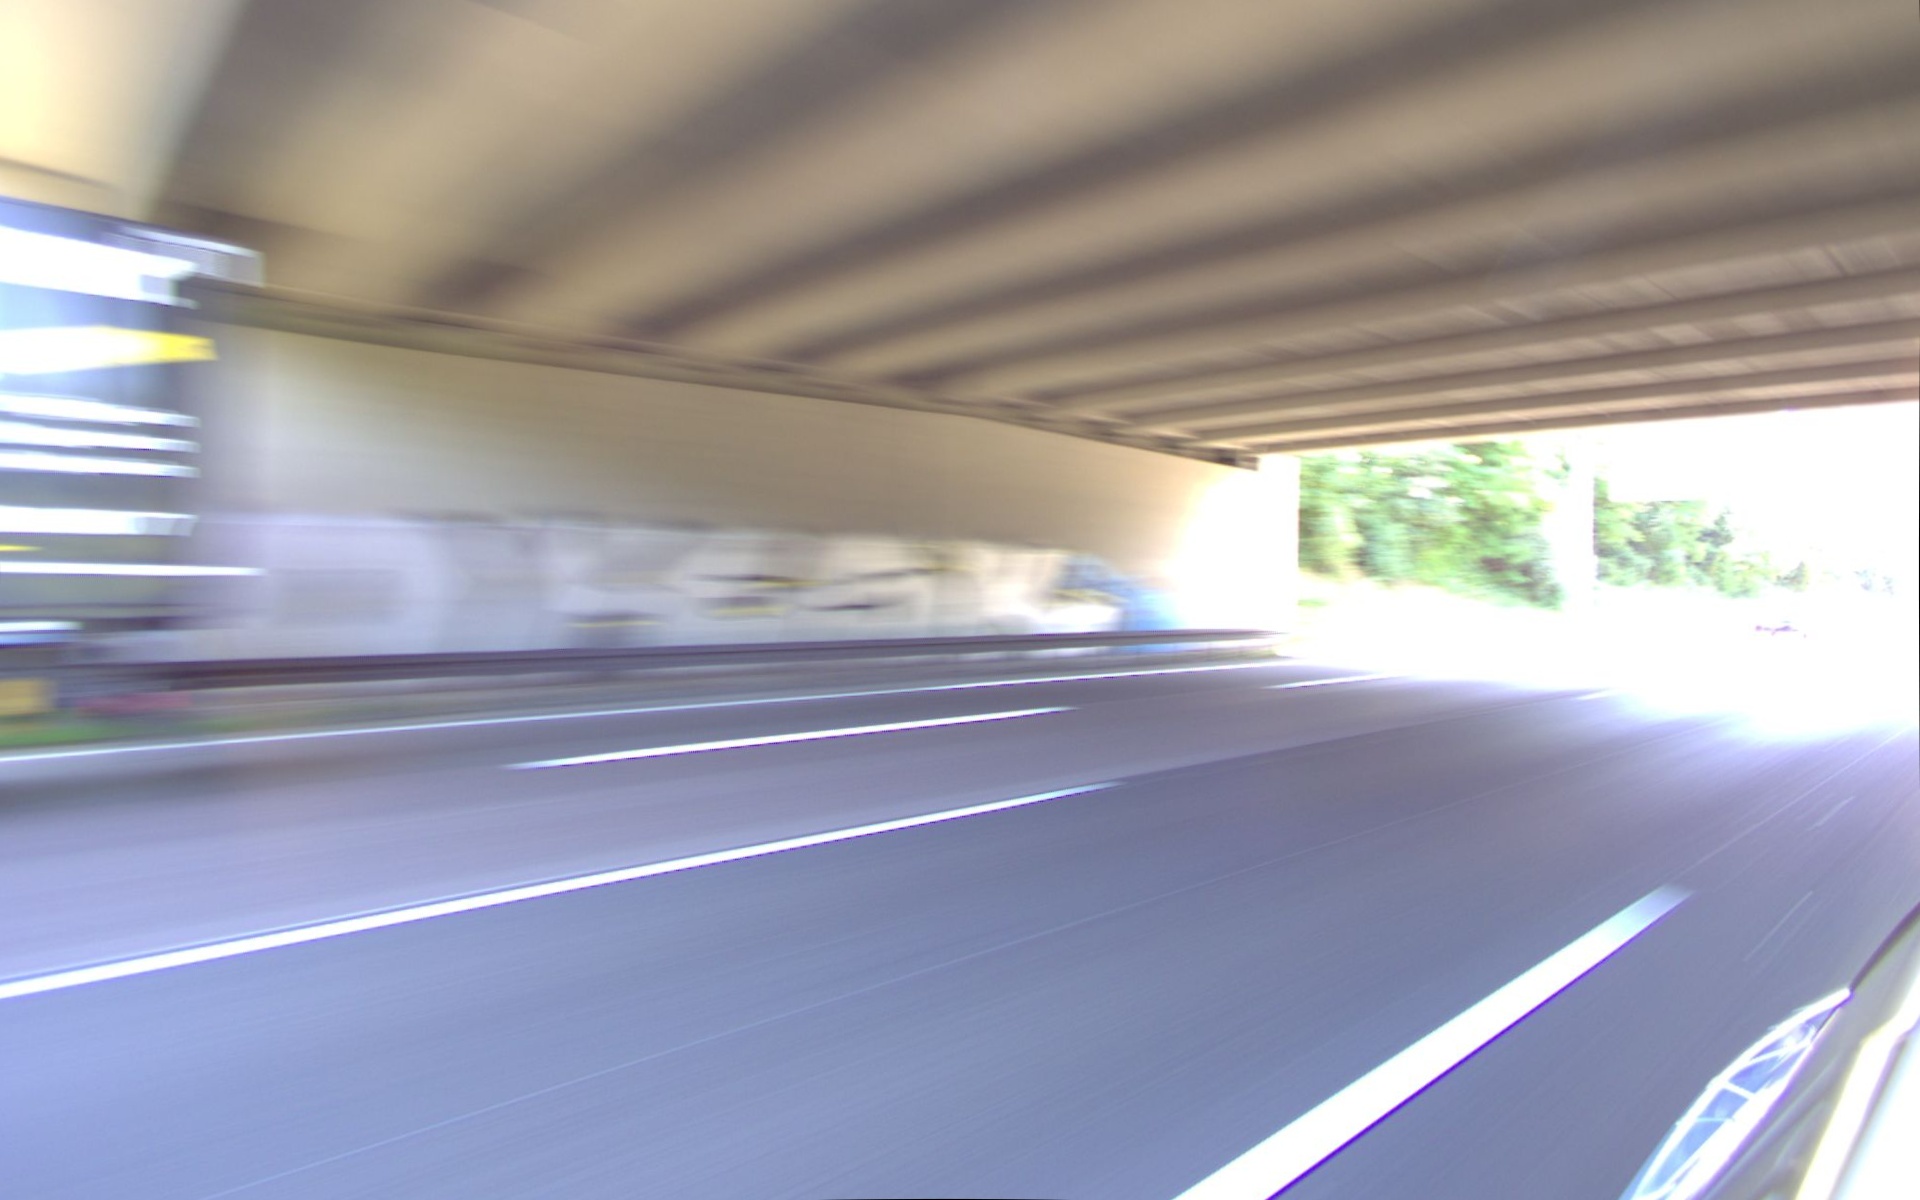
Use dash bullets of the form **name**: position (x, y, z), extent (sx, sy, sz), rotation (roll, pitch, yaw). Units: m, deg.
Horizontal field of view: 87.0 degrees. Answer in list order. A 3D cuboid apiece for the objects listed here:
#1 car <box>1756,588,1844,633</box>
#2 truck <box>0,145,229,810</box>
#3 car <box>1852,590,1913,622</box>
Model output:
- **car**: position (31.255, 0.335, 37.623), extent (4.128, 1.575, 1.873), rotation (-1, 1, -41)
- **truck**: position (-10.134, -0.706, 4.733), extent (10.782, 4.088, 2.982), rotation (-1, 0, -39)
- **car**: position (44.286, 0.249, 48.556), extent (4.494, 1.465, 1.673), rotation (-1, 1, -41)
